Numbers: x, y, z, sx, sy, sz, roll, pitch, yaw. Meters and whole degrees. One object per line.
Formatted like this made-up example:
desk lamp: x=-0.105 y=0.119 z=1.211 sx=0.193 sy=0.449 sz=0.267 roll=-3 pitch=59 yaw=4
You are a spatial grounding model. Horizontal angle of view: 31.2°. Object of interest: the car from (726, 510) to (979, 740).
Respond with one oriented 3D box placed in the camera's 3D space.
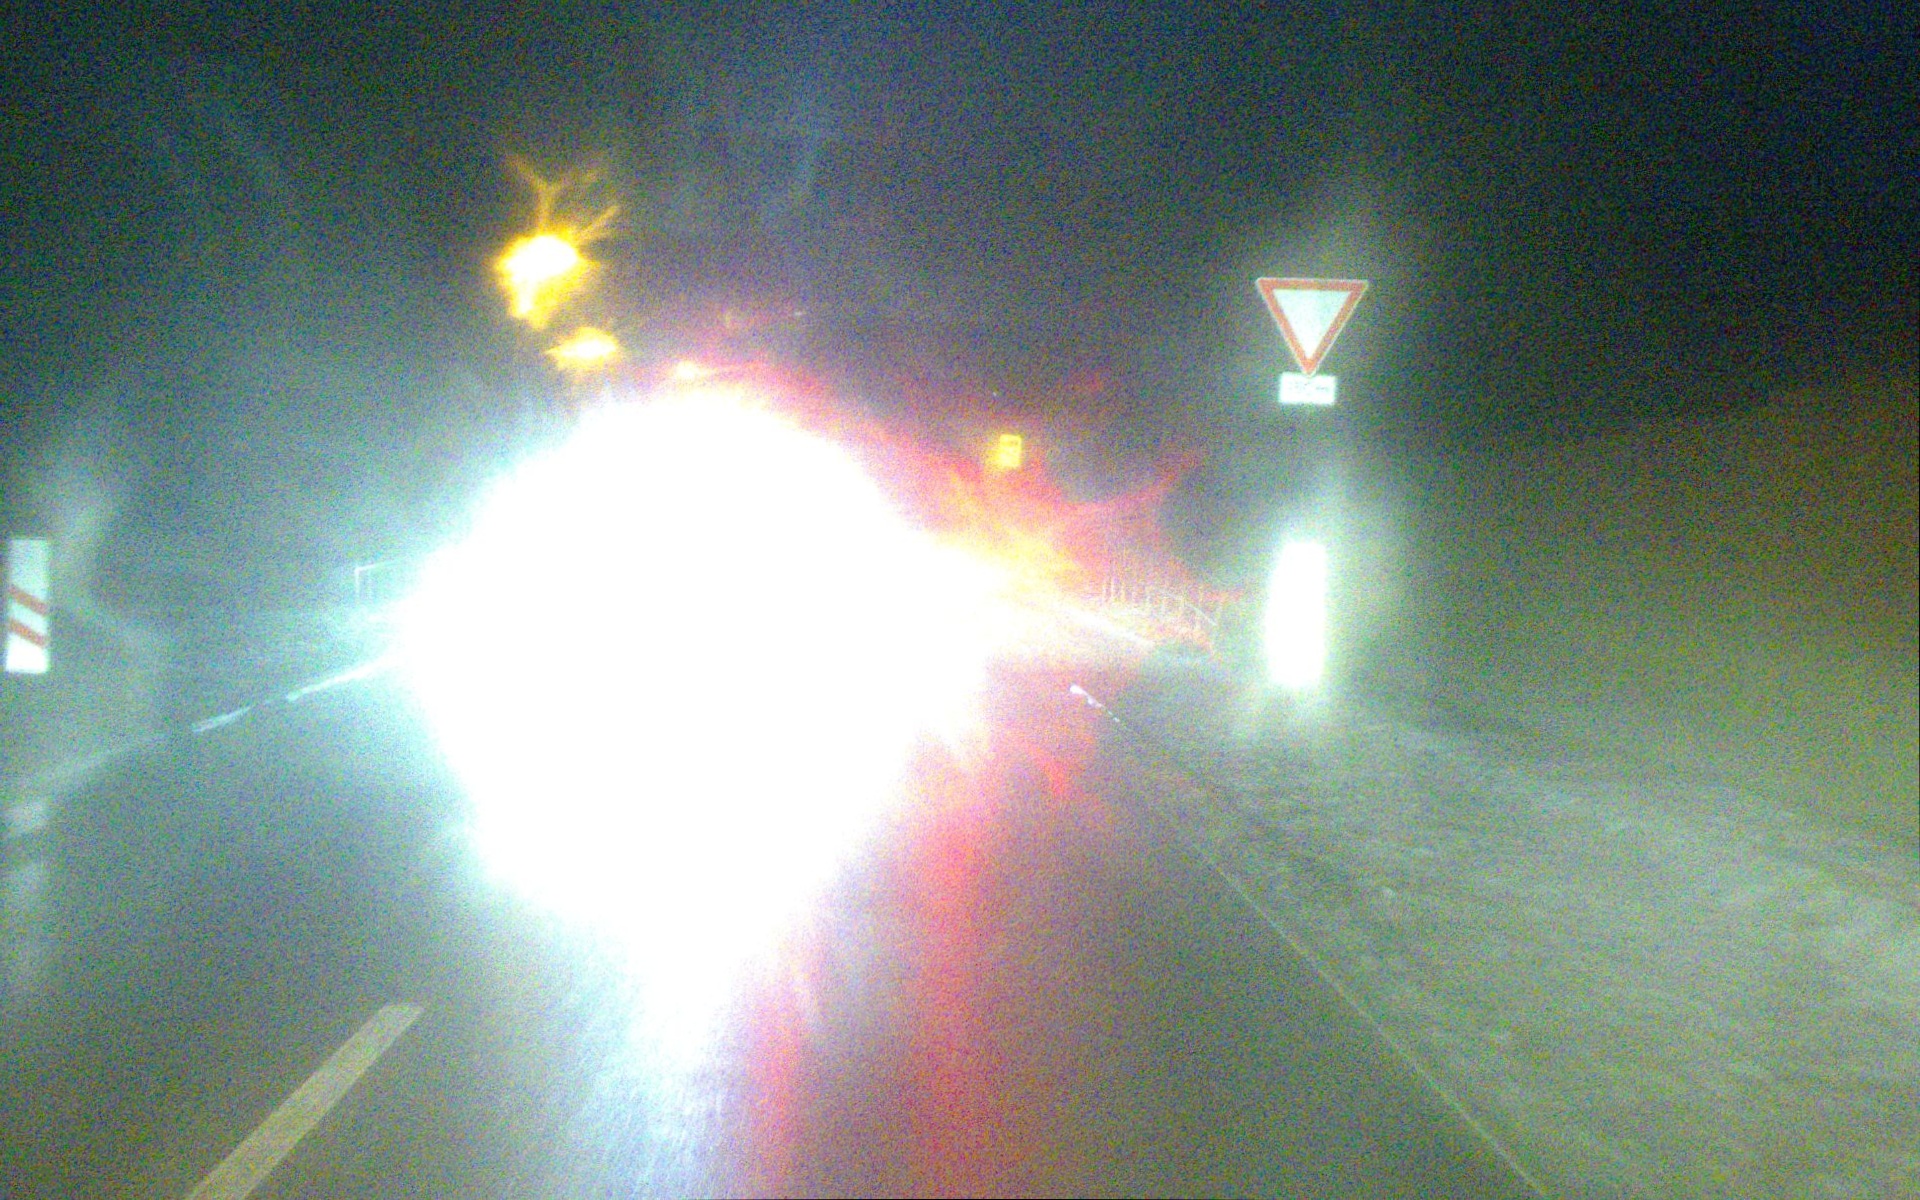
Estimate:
car: x=-0.813 y=0.188 z=27.149 sx=1.801 sy=1.623 sz=3.615 roll=2 pitch=0 yaw=-1
